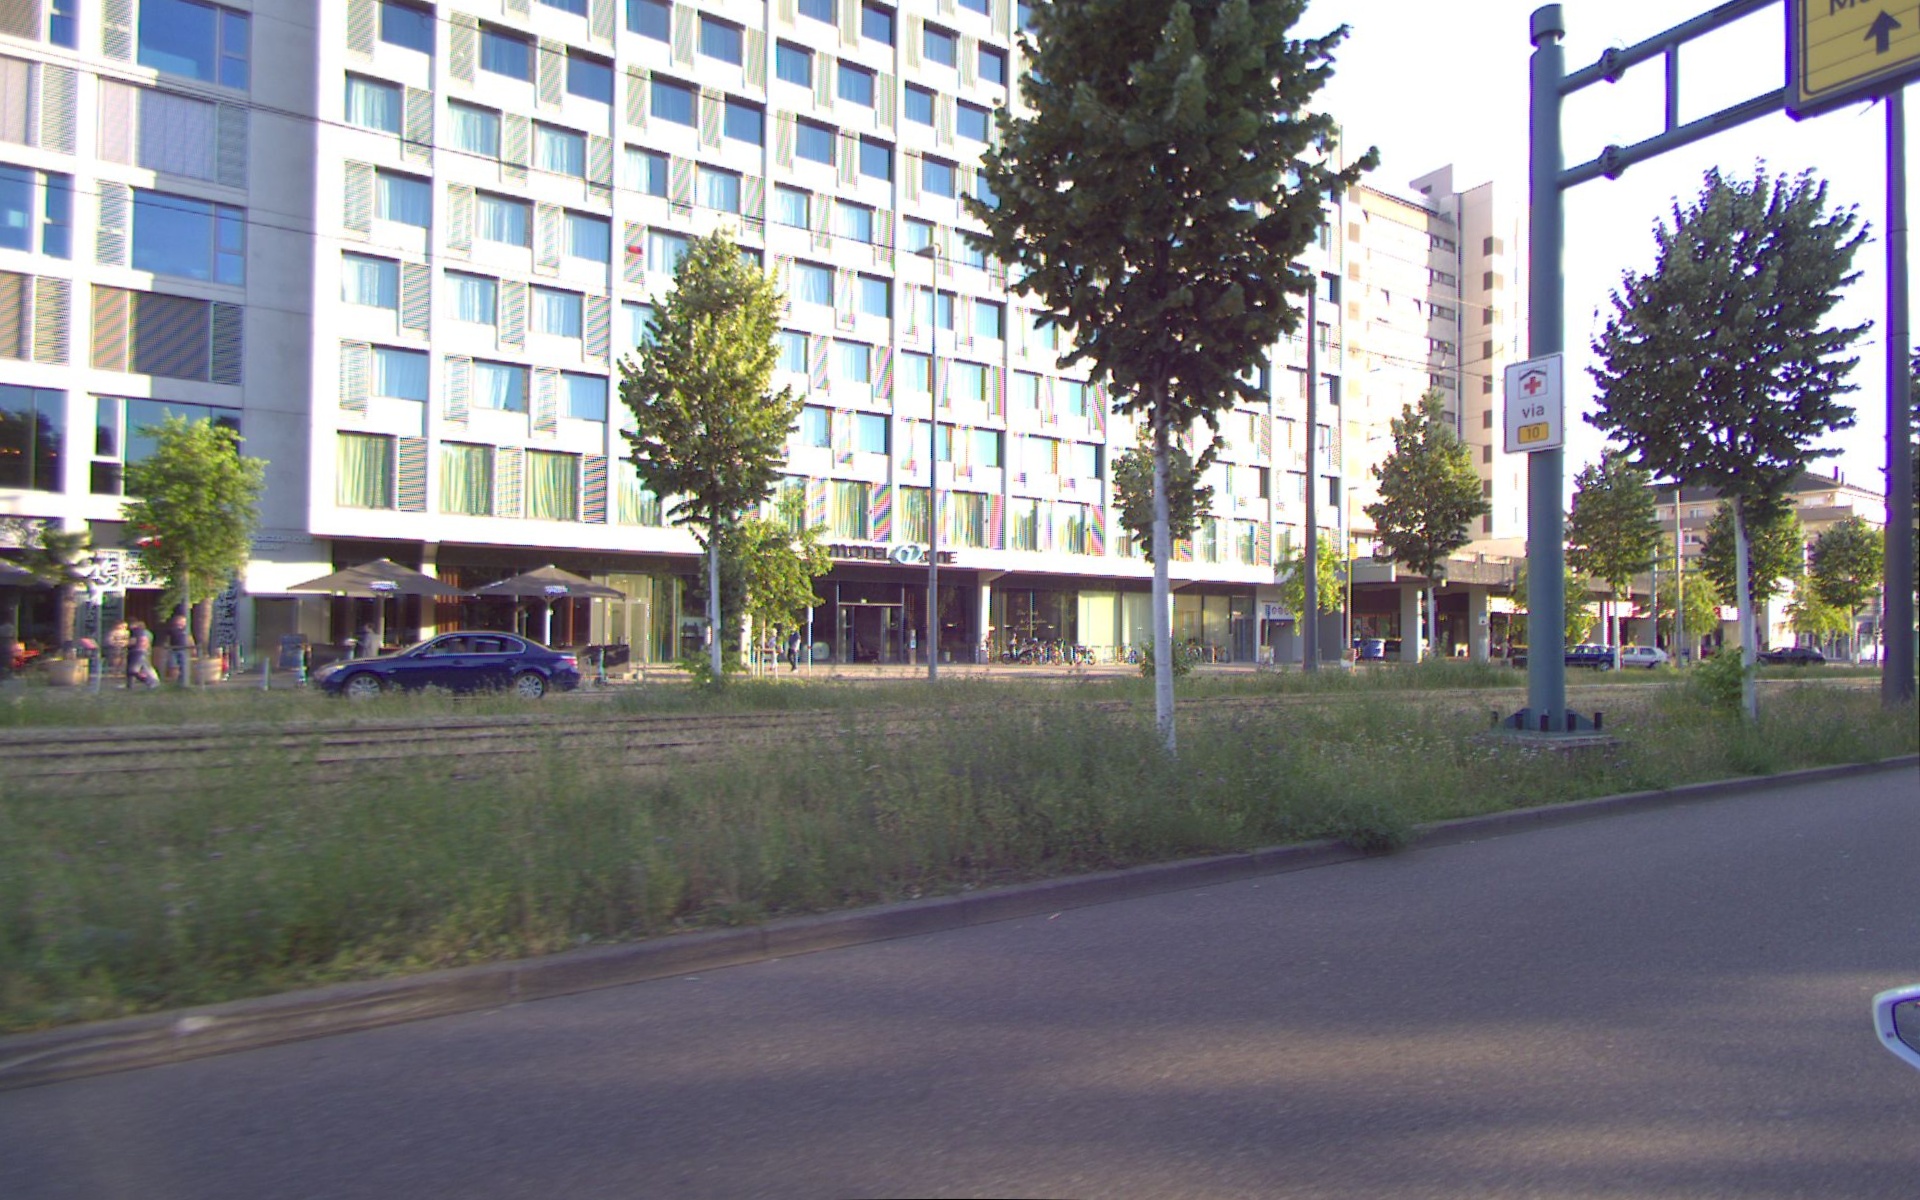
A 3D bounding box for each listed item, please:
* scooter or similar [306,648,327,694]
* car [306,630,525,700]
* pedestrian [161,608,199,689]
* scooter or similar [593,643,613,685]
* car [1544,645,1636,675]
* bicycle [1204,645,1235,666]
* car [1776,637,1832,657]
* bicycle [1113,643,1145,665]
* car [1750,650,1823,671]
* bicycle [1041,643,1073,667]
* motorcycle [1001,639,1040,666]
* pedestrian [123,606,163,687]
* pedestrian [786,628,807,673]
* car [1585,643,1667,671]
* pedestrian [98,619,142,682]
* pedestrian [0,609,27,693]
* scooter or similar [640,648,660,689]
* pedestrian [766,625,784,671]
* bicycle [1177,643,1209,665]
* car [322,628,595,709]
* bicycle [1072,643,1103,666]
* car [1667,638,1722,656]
[{"bbox_3d":[-16.663,1.830,26.005,0.334,1.099,0.967,5,-1,-30],"label":"scooter or similar"},{"bbox_3d":[-12.241,1.425,22.689,4.178,1.459,1.875,2,-2,-33],"label":"car"},{"bbox_3d":[-19.930,1.243,25.670,0.540,2.040,0.503,0,-2,11],"label":"pedestrian"},{"bbox_3d":[-10.463,1.872,29.461,0.334,1.179,1.176,1,-2,-30],"label":"scooter or similar"},{"bbox_3d":[36.824,3.505,58.797,4.201,1.611,2.010,0,-2,19],"label":"car"},{"bbox_3d":[13.894,2.961,53.738,0.417,1.033,1.776,2,-2,-34],"label":"bicycle"},{"bbox_3d":[85.437,4.745,101.737,2.167,1.870,3.913,2,-2,-32],"label":"car"},{"bbox_3d":[8.276,2.627,49.196,0.417,1.033,1.776,2,-2,-34],"label":"bicycle"},{"bbox_3d":[60.203,4.382,73.230,3.657,1.468,1.745,-1,-4,20],"label":"car"},{"bbox_3d":[4.468,2.530,46.322,0.417,1.033,1.776,2,-2,-34],"label":"bicycle"},{"bbox_3d":[2.750,2.389,45.933,1.872,1.187,0.513,0,-2,44],"label":"motorcycle"},{"bbox_3d":[-20.750,1.170,25.506,0.540,2.040,0.503,0,-2,11],"label":"pedestrian"},{"bbox_3d":[-6.046,1.872,37.189,0.596,1.621,0.494,2,0,-30],"label":"pedestrian"},{"bbox_3d":[41.406,3.513,62.547,4.055,1.455,1.823,2,0,28],"label":"car"},{"bbox_3d":[-22.223,1.331,26.598,0.699,1.625,0.677,2,0,-24],"label":"pedestrian"},{"bbox_3d":[-22.557,1.187,23.646,0.700,1.949,0.675,2,0,-30],"label":"pedestrian"},{"bbox_3d":[-9.272,2.037,30.028,0.334,1.072,1.176,0,3,-30],"label":"scooter or similar"},{"bbox_3d":[-6.958,1.806,37.730,0.510,1.678,0.426,2,0,-30],"label":"pedestrian"},{"bbox_3d":[11.806,2.735,50.974,0.417,1.033,1.776,2,-2,-34],"label":"bicycle"},{"bbox_3d":[-10.071,1.361,20.396,4.745,1.459,2.006,2,-4,-30],"label":"car"},{"bbox_3d":[6.051,2.579,47.681,0.417,1.033,1.731,2,-2,-34],"label":"bicycle"},{"bbox_3d":[79.398,5.121,108.613,2.144,1.792,4.304,0,-4,-34],"label":"car"}]
